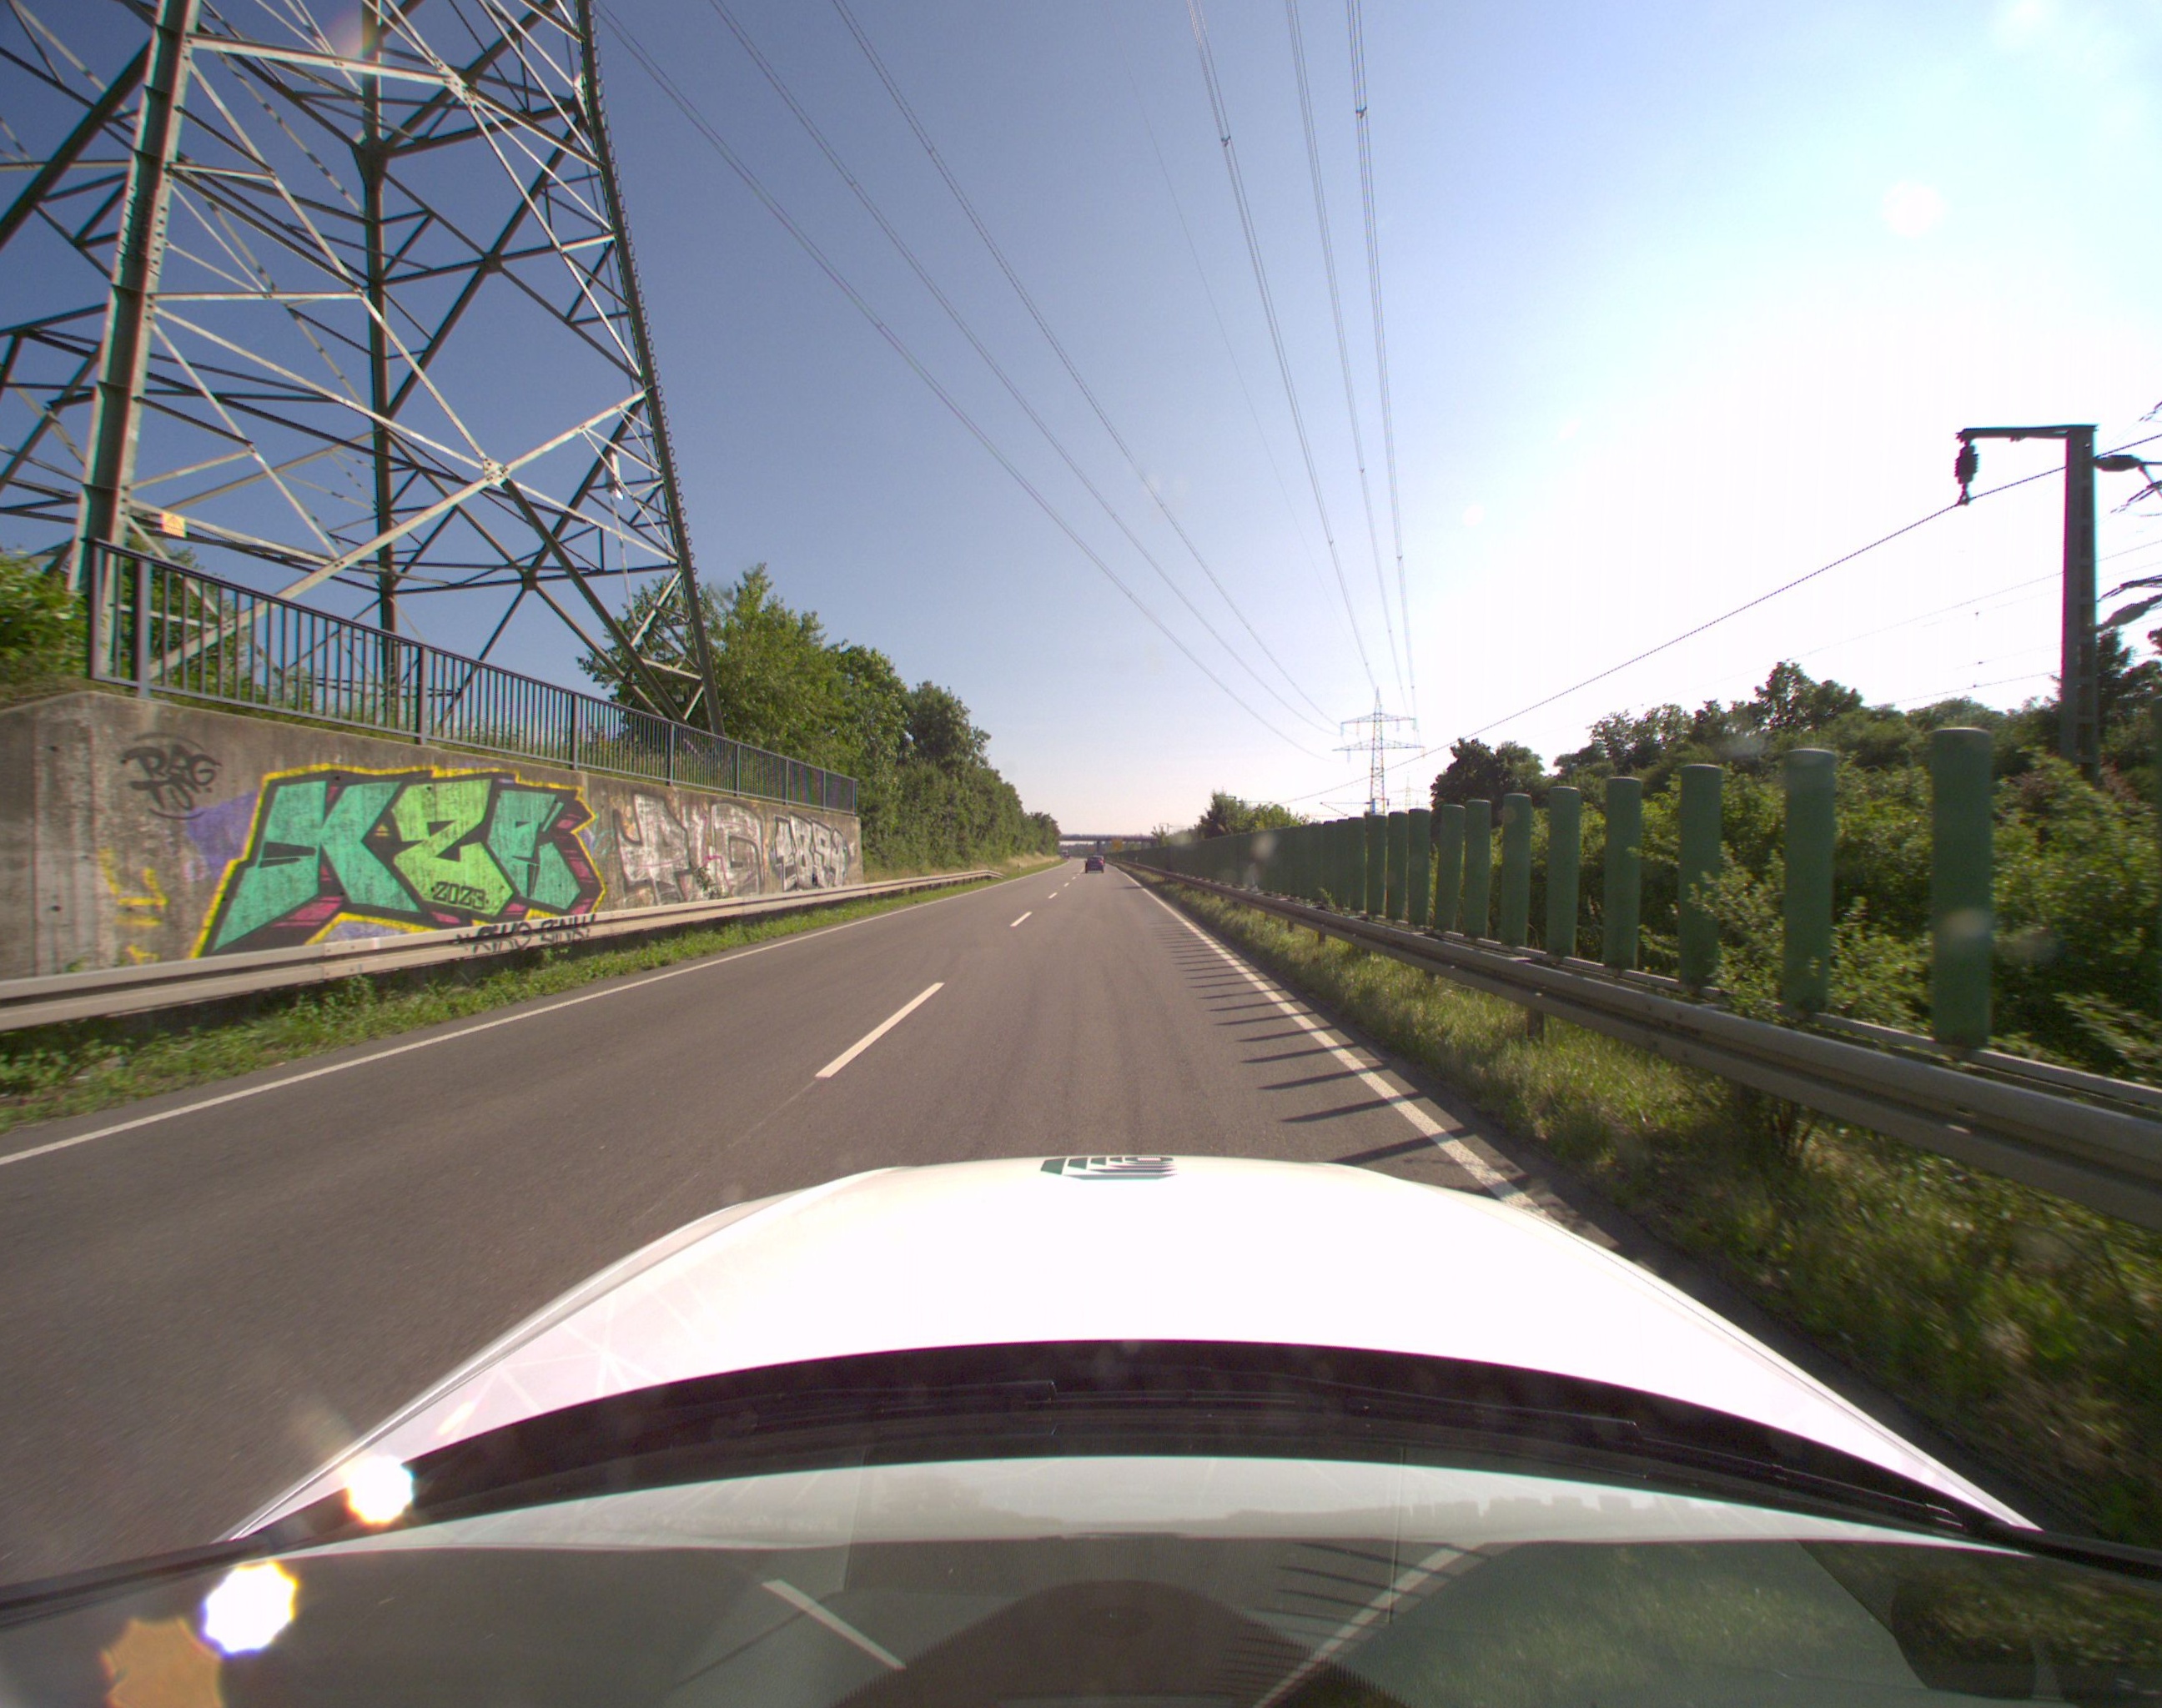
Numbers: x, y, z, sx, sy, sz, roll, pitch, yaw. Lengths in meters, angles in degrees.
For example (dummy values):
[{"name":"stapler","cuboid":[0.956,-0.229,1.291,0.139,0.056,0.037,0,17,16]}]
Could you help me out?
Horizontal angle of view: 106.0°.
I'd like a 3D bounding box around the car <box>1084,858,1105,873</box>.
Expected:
[{"name":"car","cuboid":[1.158,1.039,71.795,1.658,1.261,3.998,0,-1,-1]}]
